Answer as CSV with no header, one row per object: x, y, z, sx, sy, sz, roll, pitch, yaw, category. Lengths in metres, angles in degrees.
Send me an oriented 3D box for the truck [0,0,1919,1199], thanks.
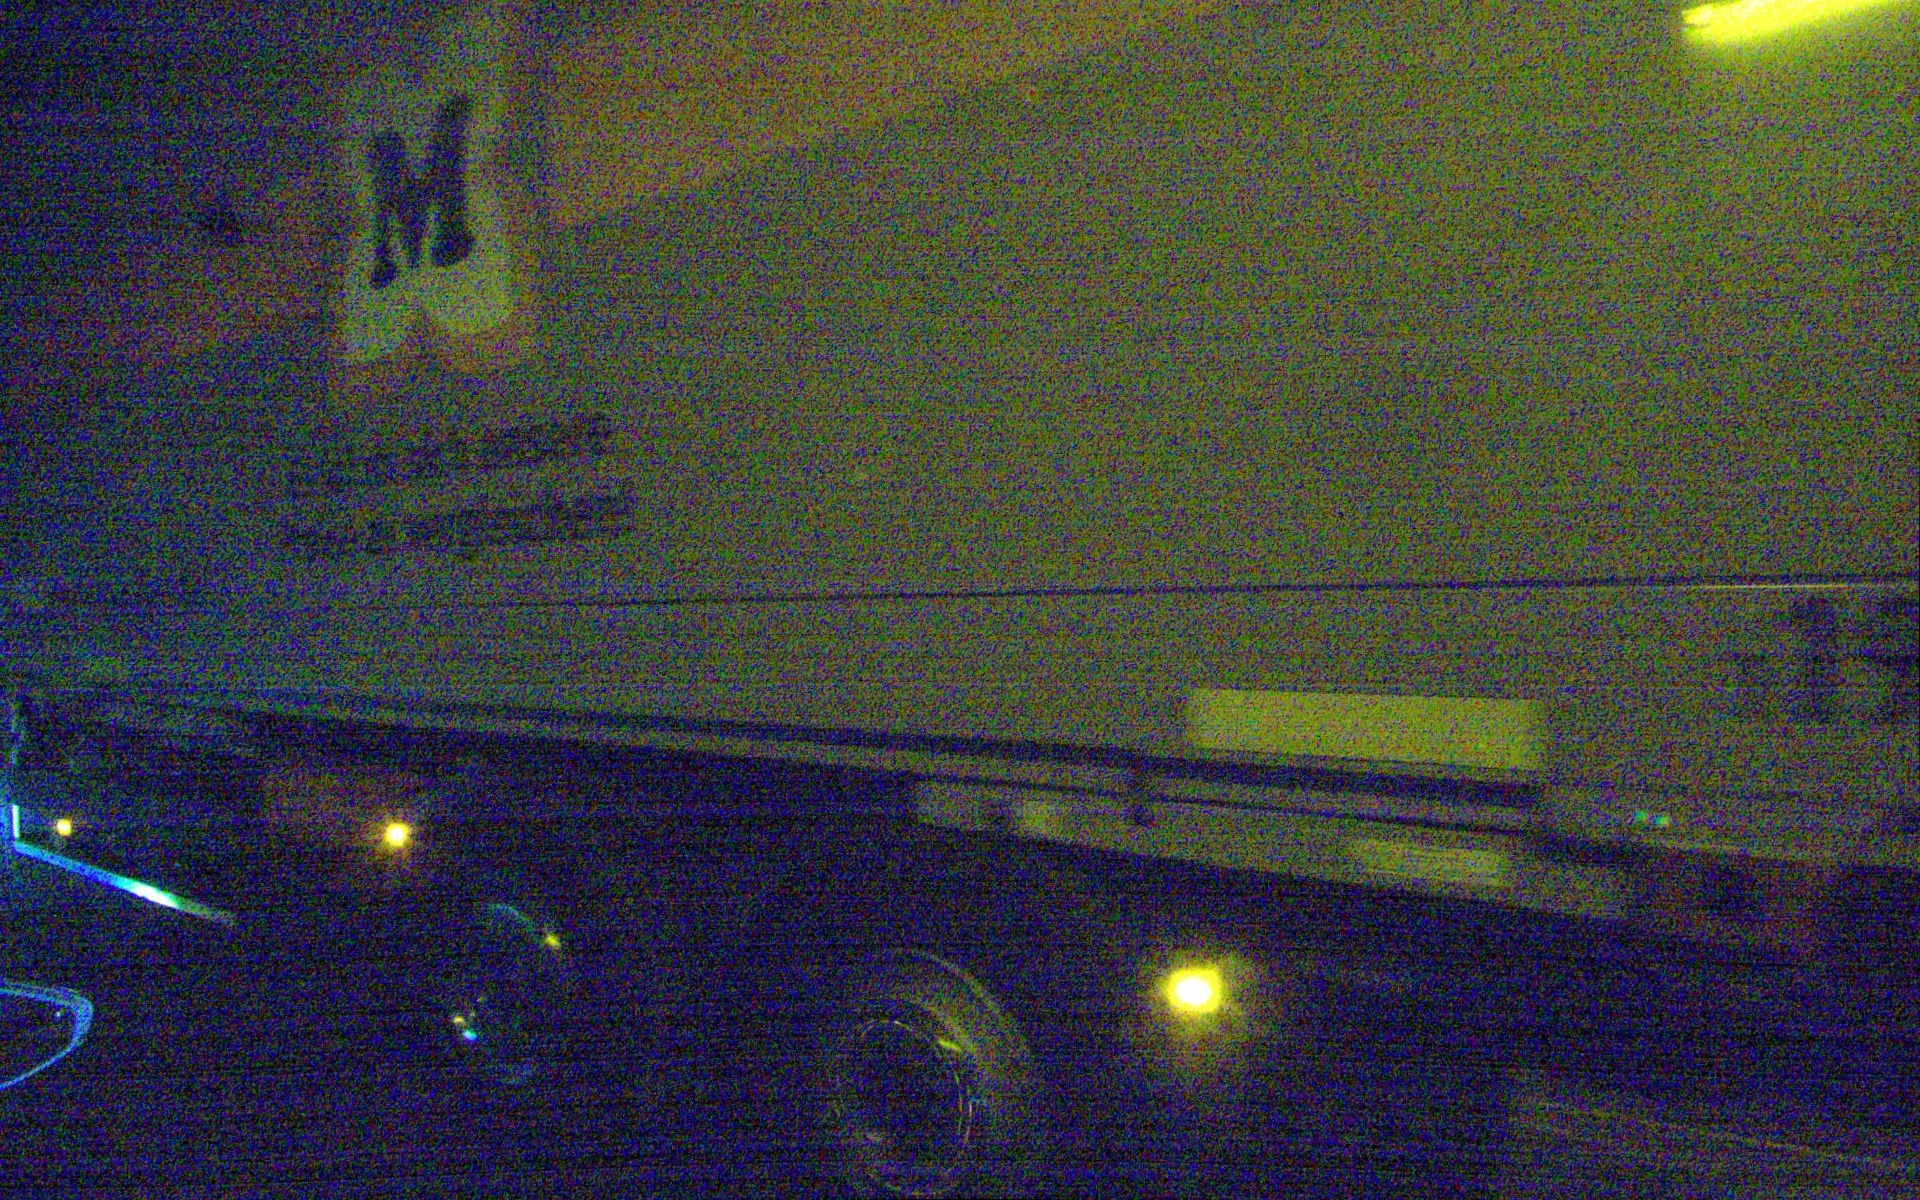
-1.716,-0.446,4.518,9.772,3.965,2.881,-1,0,34,truck
